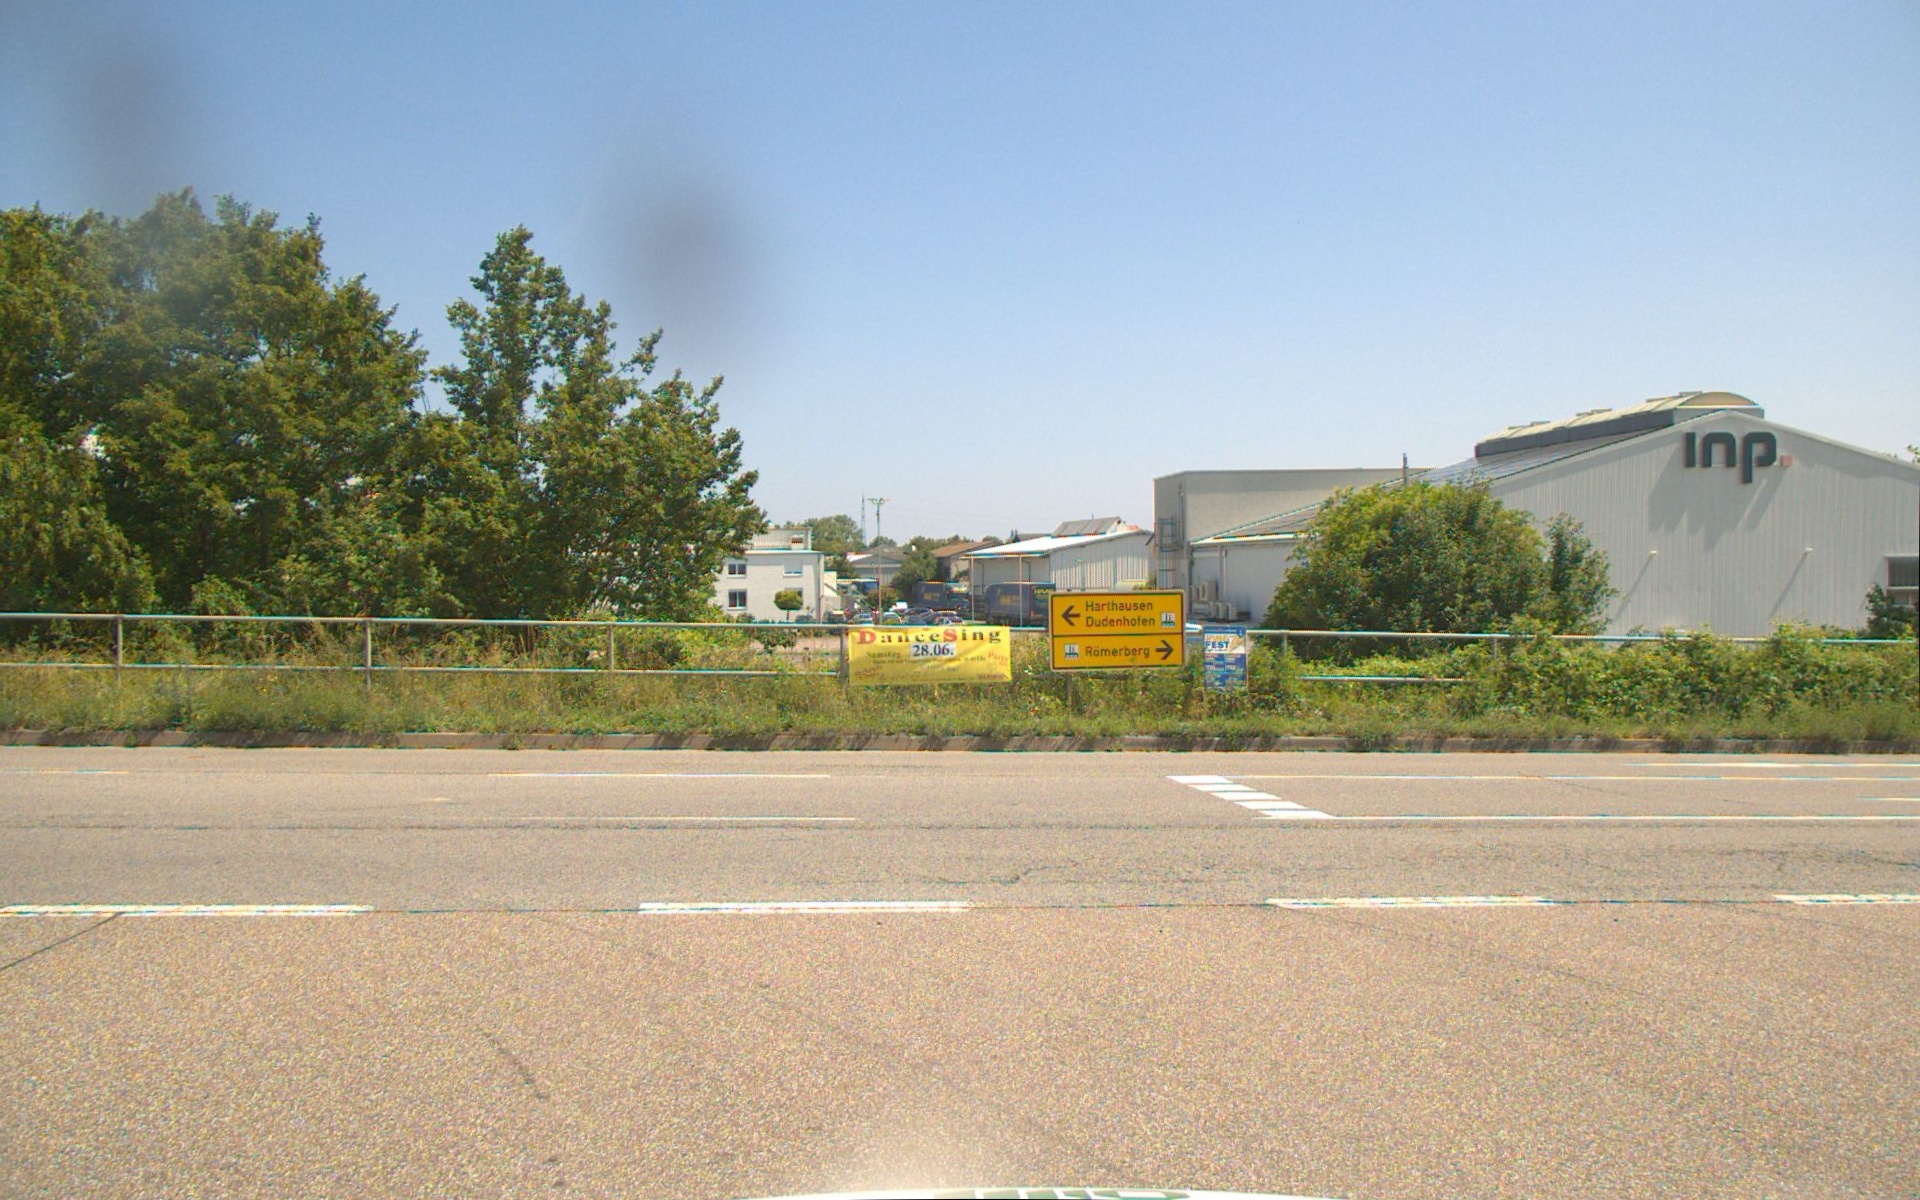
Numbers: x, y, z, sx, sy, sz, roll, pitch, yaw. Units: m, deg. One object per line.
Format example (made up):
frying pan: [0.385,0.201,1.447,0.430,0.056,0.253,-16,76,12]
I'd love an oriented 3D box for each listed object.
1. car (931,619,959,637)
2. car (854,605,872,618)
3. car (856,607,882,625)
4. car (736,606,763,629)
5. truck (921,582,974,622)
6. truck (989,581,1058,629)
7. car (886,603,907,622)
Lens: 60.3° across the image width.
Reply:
car: [-1.296,2.371,140.952,1.654,1.387,3.824,-3,1,-12]
car: [-10.702,1.259,182.989,1.426,1.374,3.304,0,0,-13]
car: [-9.611,1.708,174.467,1.959,1.761,4.847,1,0,-13]
car: [-19.464,1.611,152.619,1.959,2.049,4.846,1,0,-13]
truck: [-1.553,0.209,192.137,3.351,4.386,14.550,0,0,-12]
truck: [5.960,0.399,158.543,3.642,4.386,13.307,0,0,-11]
car: [-6.971,1.391,180.870,1.687,2.049,3.987,0,0,-13]
